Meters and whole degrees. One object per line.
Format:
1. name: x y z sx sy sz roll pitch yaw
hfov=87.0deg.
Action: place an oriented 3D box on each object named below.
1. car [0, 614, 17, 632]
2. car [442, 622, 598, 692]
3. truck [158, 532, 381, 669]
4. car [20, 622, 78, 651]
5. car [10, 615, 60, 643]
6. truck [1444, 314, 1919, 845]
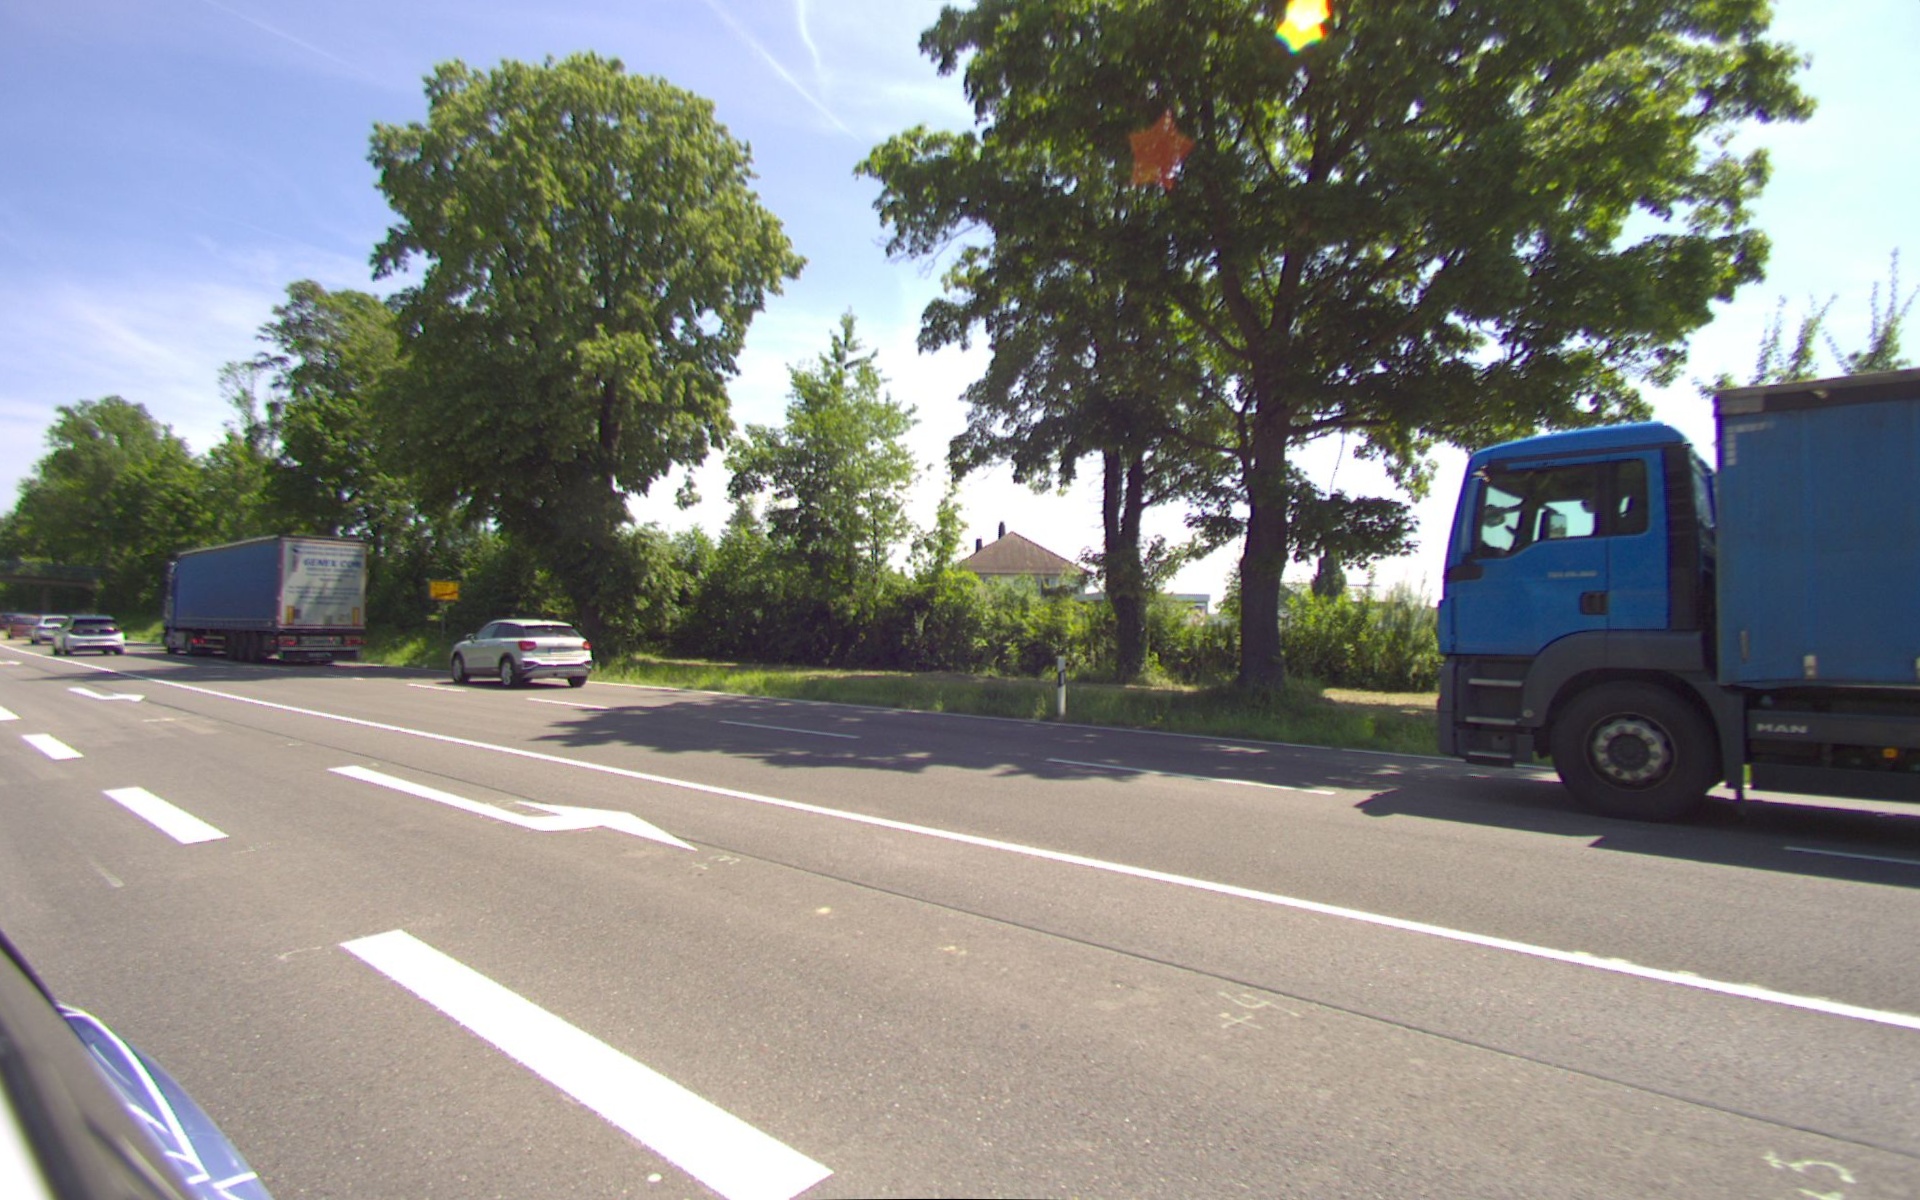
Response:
1. car: -77.651 1.862 81.801 4.014 1.449 1.625 -1 -1 40
2. car: -10.122 1.246 23.142 4.179 1.439 1.742 -1 -2 43
3. truck: -26.263 0.135 37.782 16.569 4.208 2.936 -1 -2 42
4. car: -46.746 1.850 51.895 4.560 1.425 1.682 -1 -2 41
5. car: -53.914 1.698 58.972 3.775 1.457 1.748 -1 -6 42
6. truck: 9.173 -0.143 5.528 11.480 3.377 2.816 -1 -2 43
